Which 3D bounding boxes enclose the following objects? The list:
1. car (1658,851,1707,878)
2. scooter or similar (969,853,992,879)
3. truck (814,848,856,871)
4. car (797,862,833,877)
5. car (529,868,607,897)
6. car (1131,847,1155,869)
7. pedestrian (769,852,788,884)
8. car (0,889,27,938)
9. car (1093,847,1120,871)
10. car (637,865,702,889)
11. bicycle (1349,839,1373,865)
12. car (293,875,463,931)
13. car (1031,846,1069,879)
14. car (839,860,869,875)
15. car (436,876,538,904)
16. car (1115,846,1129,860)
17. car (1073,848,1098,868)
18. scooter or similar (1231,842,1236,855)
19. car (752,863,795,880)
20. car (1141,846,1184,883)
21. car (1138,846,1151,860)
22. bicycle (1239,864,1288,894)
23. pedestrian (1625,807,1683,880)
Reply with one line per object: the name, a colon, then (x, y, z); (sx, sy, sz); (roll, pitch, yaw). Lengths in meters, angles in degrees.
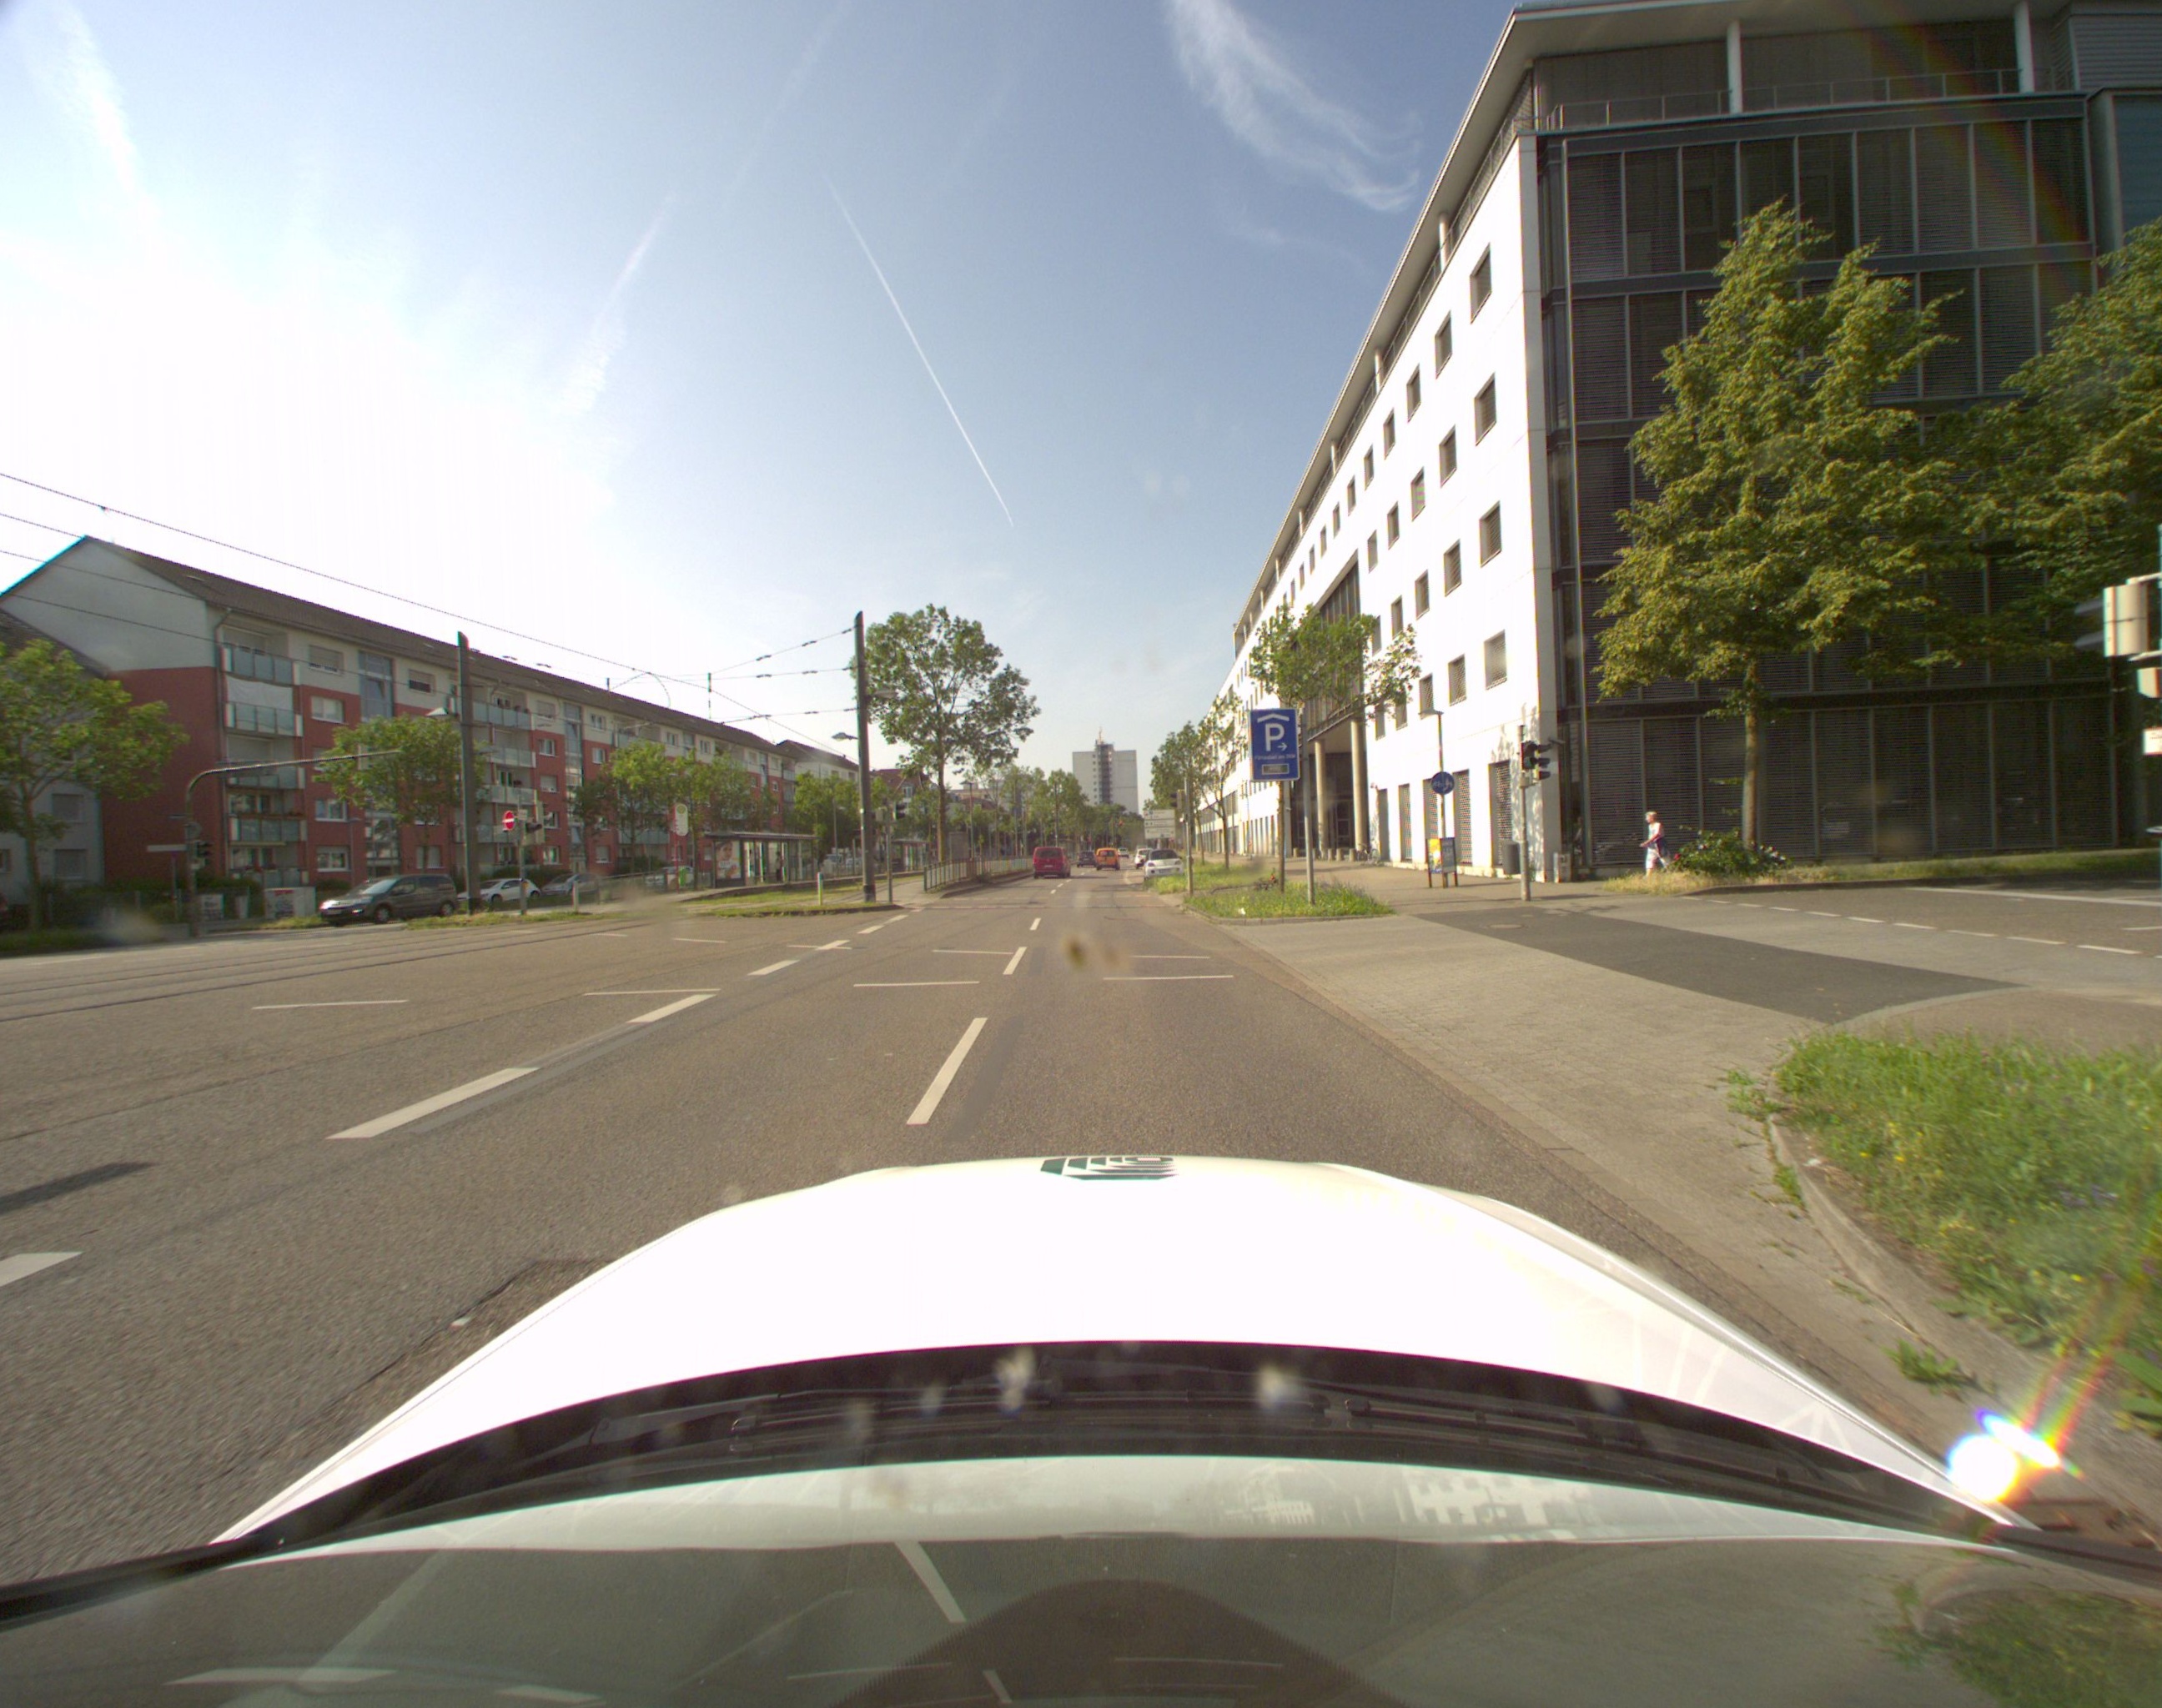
car: (13.956, 0.234, 18.914); (0.762, 0.587, 0.498); (-2, 0, 1)
scooter or similar: (-5.177, 0.617, 41.876); (0.422, 1.239, 1.270); (-3, 0, 31)
truck: (-28.810, 0.616, 95.569); (2.356, 2.563, 7.247); (-1, 0, 3)
car: (-26.366, 1.516, 80.811); (1.972, 1.360, 4.073); (-1, 0, 3)
car: (-28.931, 1.571, 46.051); (1.825, 1.471, 3.830); (-1, 0, 3)
car: (4.804, 0.298, 63.007); (1.681, 1.526, 3.855); (-4, 0, 4)
pedestrian: (-16.244, 0.734, 43.736); (0.669, 1.653, 0.794); (-2, 0, -1)
car: (-40.341, 2.147, 28.718); (3.969, 1.695, 2.002); (-1, 0, 4)
car: (2.047, 0.369, 63.443); (1.867, 1.696, 3.978); (-2, 0, 4)
car: (-28.222, 1.555, 56.052); (1.972, 1.556, 4.541); (-1, 0, 3)
bicycle: (12.030, -0.093, 35.018); (0.492, 1.086, 1.550); (-4, 0, 1)
car: (-25.671, 1.719, 30.012); (1.985, 1.706, 4.716); (-2, 0, 3)
car: (-1.821, 0.461, 48.745); (1.867, 1.853, 4.003); (-2, 0, 3)
car: (-25.511, 1.499, 91.529); (1.972, 1.513, 4.284); (-1, 0, 3)
car: (-29.188, 1.747, 40.195); (1.825, 1.147, 4.168); (-1, 0, 3)
car: (6.382, -0.119, 125.896); (1.985, 2.013, 4.003); (-2, 0, 3)
car: (0.411, 0.335, 74.562); (1.985, 1.706, 4.004); (-2, 0, 4)
scooter or similar: (14.768, -0.560, 78.838); (0.459, 1.213, 1.258); (-4, 0, 10)
car: (-26.802, 1.529, 71.102); (1.972, 1.360, 4.073); (-1, 0, 3)
car: (3.664, 0.438, 36.932); (1.713, 1.519, 3.784); (-2, 1, 3)
car: (9.895, -0.210, 126.782); (1.985, 2.013, 4.004); (-2, 0, 4)
bicycle: (5.079, 0.700, 22.727); (1.263, 0.632, 0.522); (-8, -1, 10)
pedestrian: (13.155, -0.235, 18.708); (0.774, 1.616, 0.714); (-2, 0, 2)
